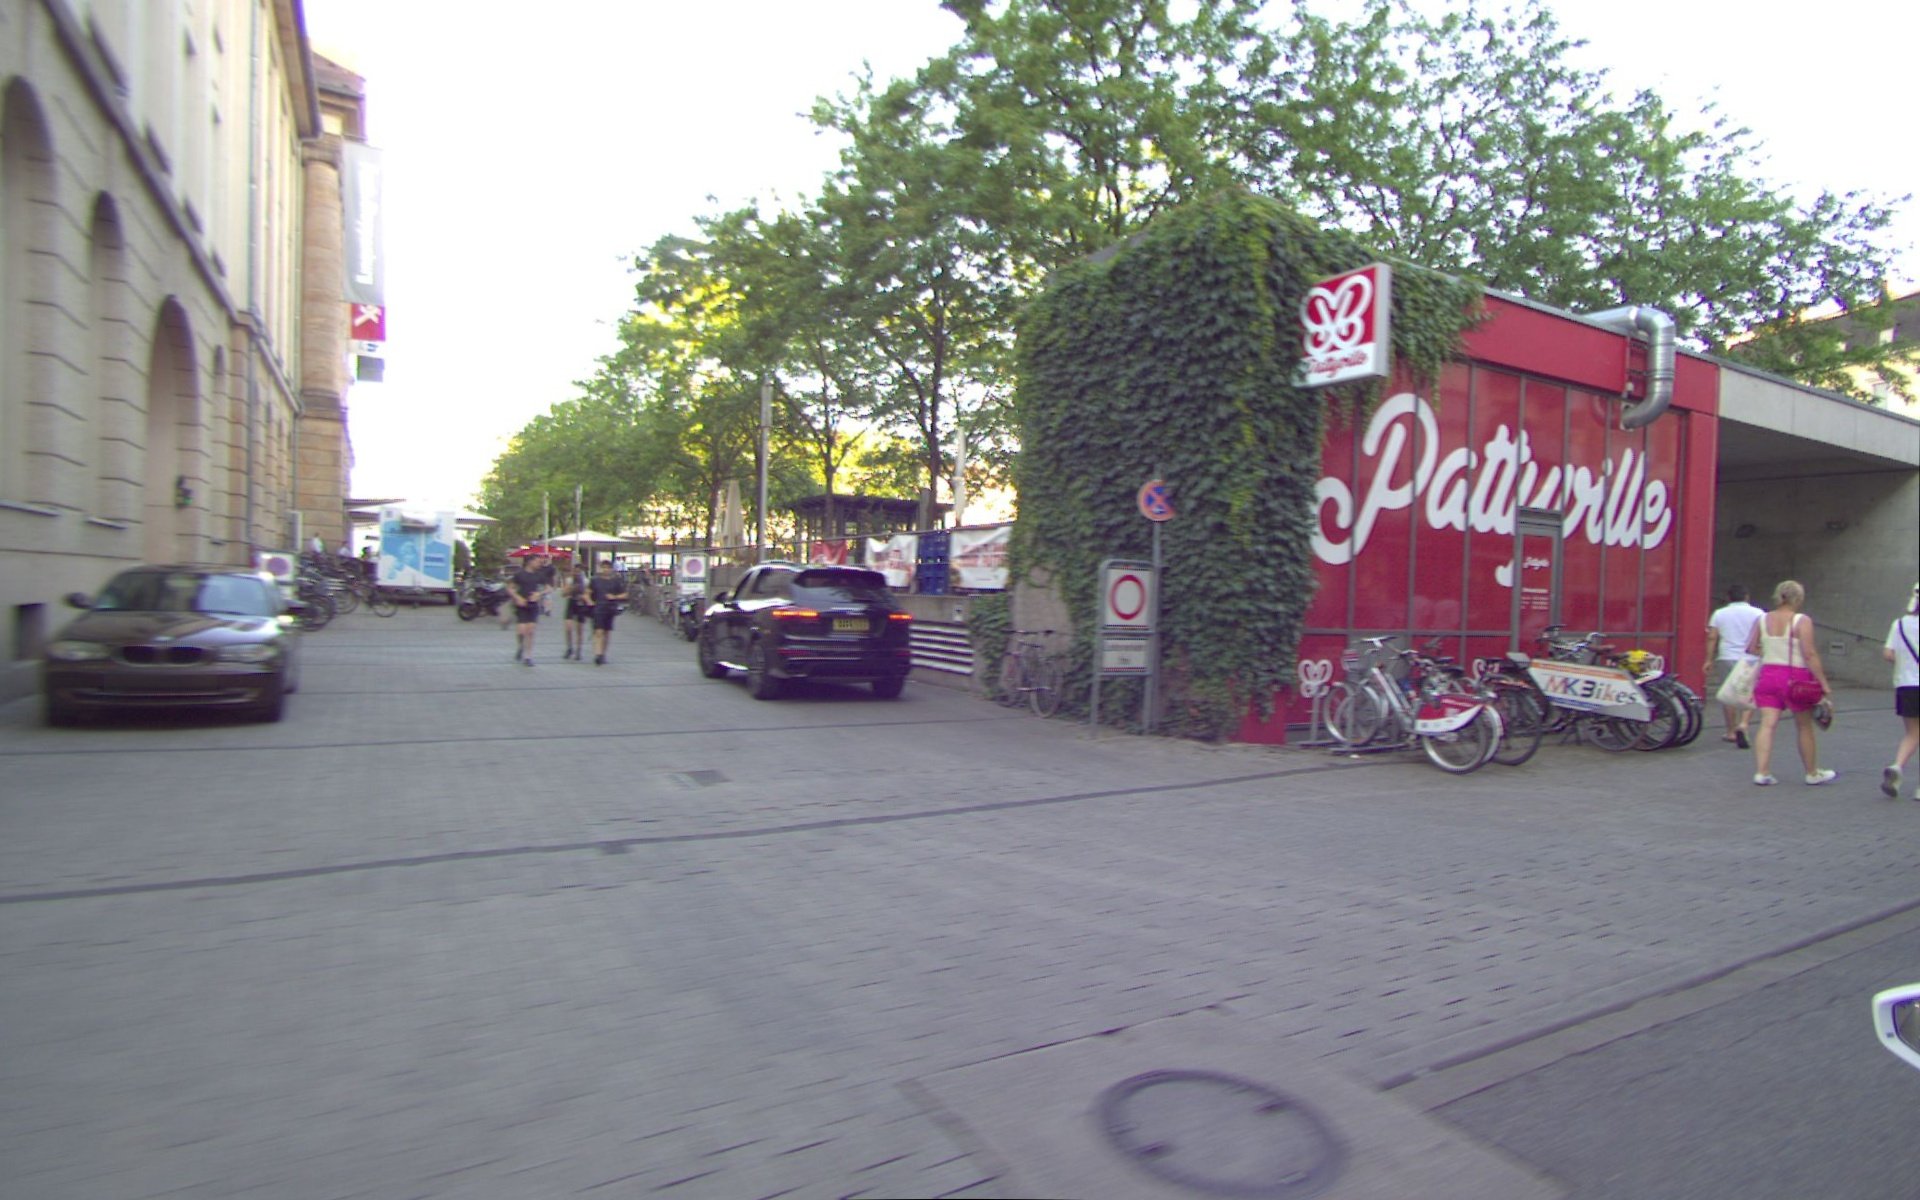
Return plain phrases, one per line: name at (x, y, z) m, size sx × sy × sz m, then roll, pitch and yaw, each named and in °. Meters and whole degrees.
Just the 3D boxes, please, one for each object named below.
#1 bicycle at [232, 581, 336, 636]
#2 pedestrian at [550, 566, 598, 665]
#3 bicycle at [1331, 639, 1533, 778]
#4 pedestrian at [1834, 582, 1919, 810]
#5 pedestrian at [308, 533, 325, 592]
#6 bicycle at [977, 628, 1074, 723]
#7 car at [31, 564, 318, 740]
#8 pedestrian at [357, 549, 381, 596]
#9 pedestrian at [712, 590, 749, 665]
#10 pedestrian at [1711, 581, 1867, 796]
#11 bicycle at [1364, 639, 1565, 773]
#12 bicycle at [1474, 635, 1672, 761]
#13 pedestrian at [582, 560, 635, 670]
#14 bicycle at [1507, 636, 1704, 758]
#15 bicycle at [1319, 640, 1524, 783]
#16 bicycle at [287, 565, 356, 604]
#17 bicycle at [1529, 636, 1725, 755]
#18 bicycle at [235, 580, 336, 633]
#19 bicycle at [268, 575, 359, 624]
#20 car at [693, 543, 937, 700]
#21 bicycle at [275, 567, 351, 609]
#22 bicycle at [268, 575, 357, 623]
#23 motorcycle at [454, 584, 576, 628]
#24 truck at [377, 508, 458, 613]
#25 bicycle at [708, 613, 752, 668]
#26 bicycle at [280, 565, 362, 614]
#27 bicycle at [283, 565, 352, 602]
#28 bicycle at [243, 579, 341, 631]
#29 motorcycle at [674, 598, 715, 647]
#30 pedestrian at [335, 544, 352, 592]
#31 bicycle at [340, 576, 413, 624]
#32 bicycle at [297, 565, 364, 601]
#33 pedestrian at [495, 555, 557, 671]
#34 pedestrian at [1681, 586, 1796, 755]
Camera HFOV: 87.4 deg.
bicycle at (-14.469, 0.179, 21.538) m, size 1.777 × 1.122 × 0.496 m, roll 1°, pitch 2°, yaw -28°
pedestrian at (-6.769, 0.267, 17.629) m, size 0.709 × 1.679 × 0.634 m, roll 1°, pitch 0°, yaw -27°
bicycle at (4.522, 0.992, 9.767) m, size 0.494 × 1.122 × 1.785 m, roll 1°, pitch 1°, yaw -30°
pedestrian at (7.802, 0.752, 8.228) m, size 0.974 × 1.774 × 0.646 m, roll 1°, pitch 1°, yaw -31°
pedestrian at (-22.727, -1.332, 35.490) m, size 0.472 × 2.041 × 0.537 m, roll 1°, pitch 1°, yaw -35°
bicycle at (0.781, 0.894, 12.428) m, size 0.366 × 1.027 × 1.653 m, roll 1°, pitch 1°, yaw -28°
car at (-7.598, 0.411, 10.115) m, size 1.730 × 1.389 × 3.985 m, roll 1°, pitch 0°, yaw -30°
pedestrian at (-20.741, -0.972, 35.256) m, size 0.643 × 1.603 × 0.644 m, roll 1°, pitch 2°, yaw -35°
pedestrian at (-4.159, 0.492, 18.172) m, size 0.486 × 1.321 × 0.645 m, roll 1°, pitch 0°, yaw -27°
pedestrian at (7.300, 0.737, 8.856) m, size 0.837 × 1.773 × 0.749 m, roll 1°, pitch 2°, yaw -30°
bicycle at (4.976, 1.003, 10.039) m, size 0.494 × 1.122 × 1.785 m, roll 1°, pitch 1°, yaw -30°
bicycle at (6.461, 0.994, 10.704) m, size 0.493 × 1.122 × 1.788 m, roll 1°, pitch 1°, yaw -26°
pedestrian at (-5.998, 0.249, 17.129) m, size 0.760 × 1.825 × 0.623 m, roll 1°, pitch 0°, yaw -27°
bicycle at (7.006, 1.006, 11.009) m, size 0.493 × 1.122 × 1.788 m, roll 1°, pitch 1°, yaw -26°
bicycle at (4.290, 0.989, 9.480) m, size 0.494 × 1.122 × 1.786 m, roll 1°, pitch 1°, yaw -29°
bicycle at (-19.857, -0.477, 31.240) m, size 1.781 × 1.122 × 0.495 m, roll 1°, pitch 2°, yaw -34°
bicycle at (7.403, 1.016, 11.251) m, size 0.493 × 1.122 × 1.788 m, roll 1°, pitch 1°, yaw -26°
bicycle at (-14.811, 0.151, 22.112) m, size 1.777 × 1.122 × 0.496 m, roll 1°, pitch 2°, yaw -28°
bicycle at (-15.564, 0.000, 24.216) m, size 1.788 × 1.122 × 0.493 m, roll 1°, pitch 2°, yaw -44°
car at (-2.157, 0.246, 13.793) m, size 2.040 × 1.783 × 4.204 m, roll 1°, pitch 0°, yaw -27°
bicycle at (-18.472, -0.338, 28.690) m, size 1.782 × 1.122 × 0.495 m, roll 1°, pitch 2°, yaw -35°
bicycle at (-15.953, -0.024, 24.780) m, size 1.788 × 1.122 × 0.493 m, roll 1°, pitch 2°, yaw -45°
motorcycle at (-11.544, 0.158, 26.199) m, size 2.835 × 1.087 × 1.046 m, roll 1°, pitch 0°, yaw -22°
truck at (-16.508, -1.220, 30.541) m, size 1.976 × 2.917 × 3.968 m, roll 1°, pitch 3°, yaw -29°
bicycle at (-4.166, 0.721, 18.178) m, size 0.488 × 0.941 × 1.193 m, roll 1°, pitch 0°, yaw -27°
bicycle at (-16.991, -0.275, 26.737) m, size 1.768 × 1.222 × 0.499 m, roll 2°, pitch 2°, yaw -12°
bicycle at (-20.383, -0.522, 31.905) m, size 1.786 × 1.122 × 0.494 m, roll 1°, pitch 2°, yaw -41°
bicycle at (-15.071, 0.118, 22.715) m, size 1.777 × 1.122 × 0.496 m, roll 1°, pitch 2°, yaw -28°
motorcycle at (-6.247, 0.508, 23.705) m, size 0.481 × 1.087 × 2.032 m, roll 1°, pitch 0°, yaw -2°
pedestrian at (-22.275, -1.148, 36.288) m, size 0.472 × 1.707 × 0.537 m, roll 1°, pitch 1°, yaw -35°
bicycle at (-14.907, -0.005, 25.658) m, size 1.764 × 1.122 × 0.500 m, roll 3°, pitch 2°, yaw 16°
bicycle at (-20.466, -0.547, 32.673) m, size 1.786 × 1.122 × 0.494 m, roll 1°, pitch 2°, yaw -41°
pedestrian at (-7.060, 0.214, 16.321) m, size 0.861 × 1.825 × 0.782 m, roll 1°, pitch 0°, yaw -27°
pedestrian at (8.608, 0.746, 11.112) m, size 0.838 × 1.778 × 0.713 m, roll 1°, pitch 1°, yaw -31°
